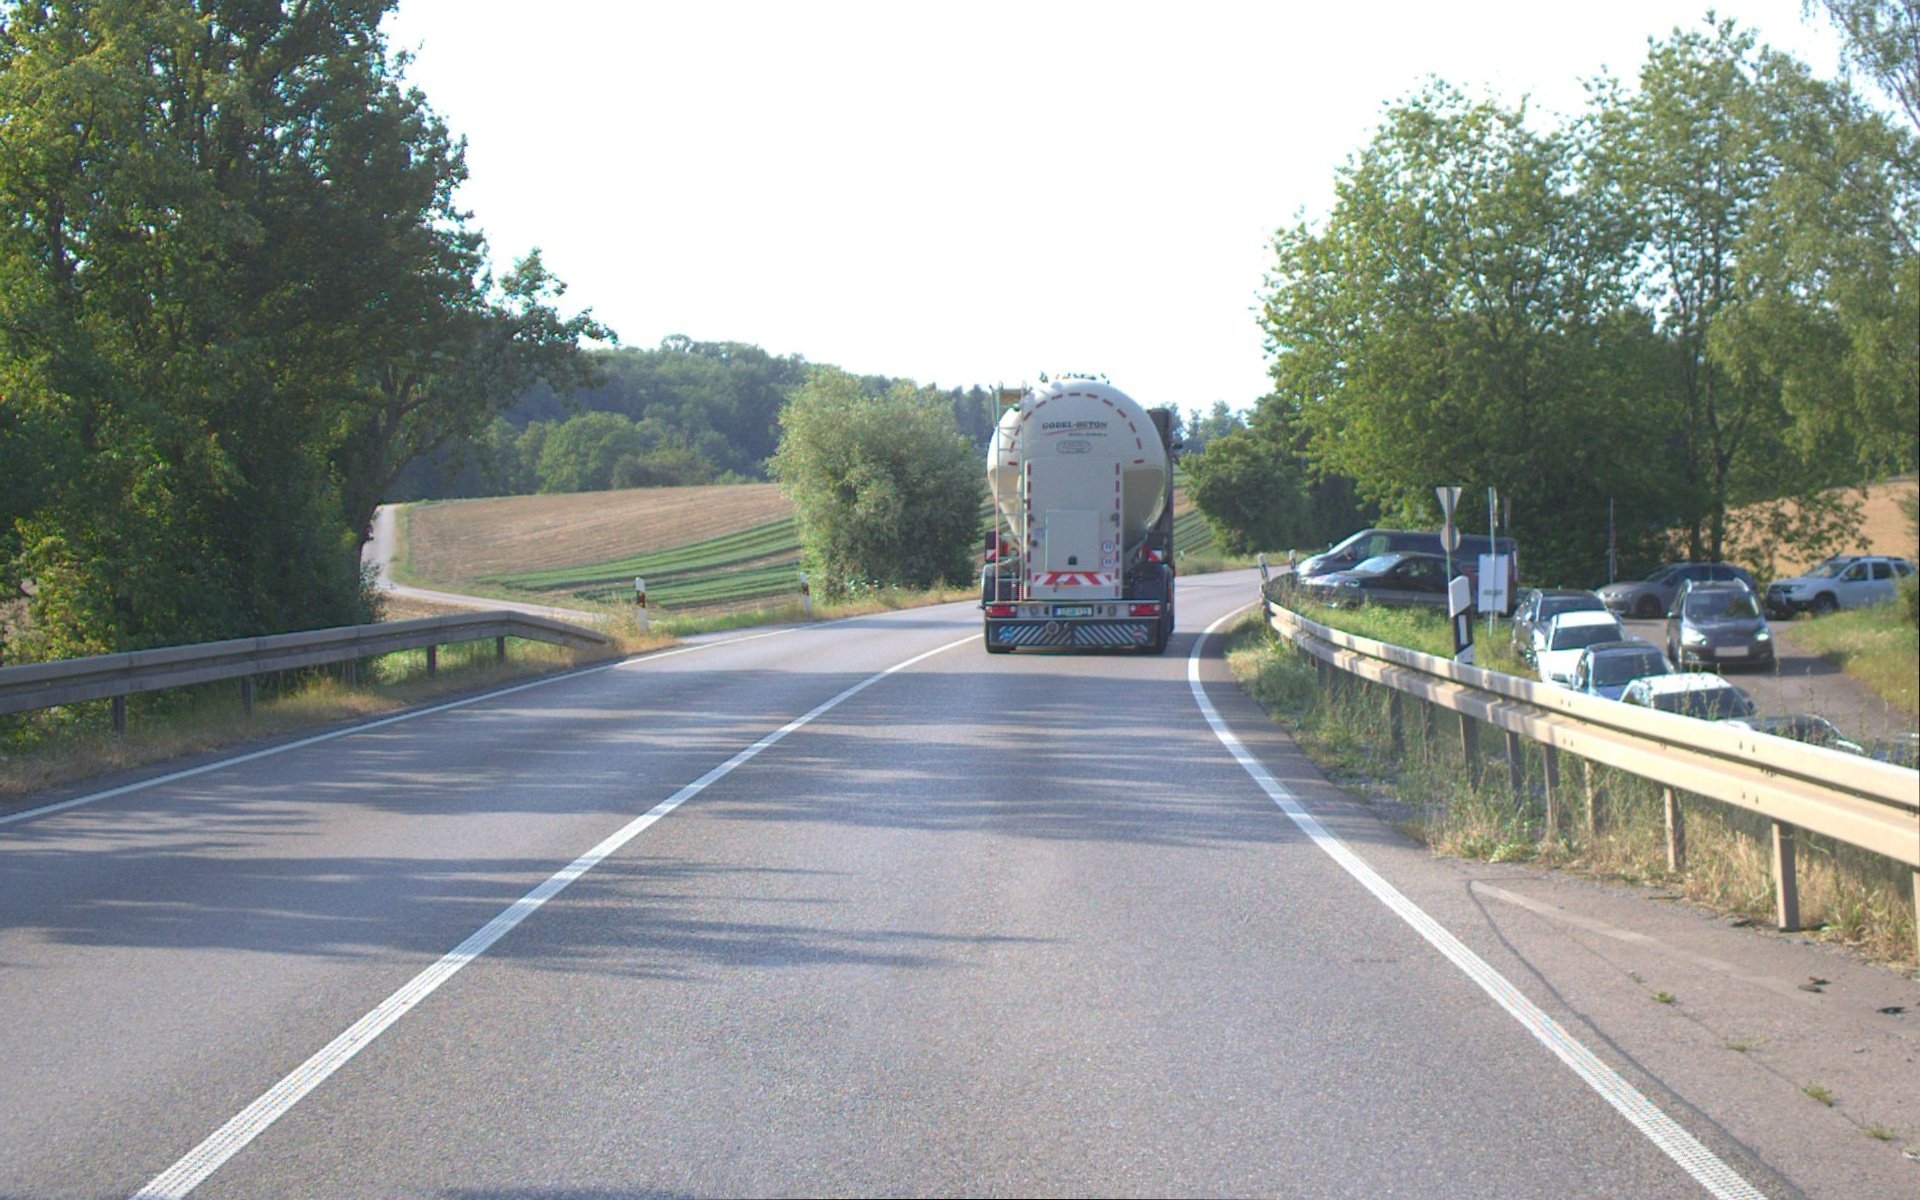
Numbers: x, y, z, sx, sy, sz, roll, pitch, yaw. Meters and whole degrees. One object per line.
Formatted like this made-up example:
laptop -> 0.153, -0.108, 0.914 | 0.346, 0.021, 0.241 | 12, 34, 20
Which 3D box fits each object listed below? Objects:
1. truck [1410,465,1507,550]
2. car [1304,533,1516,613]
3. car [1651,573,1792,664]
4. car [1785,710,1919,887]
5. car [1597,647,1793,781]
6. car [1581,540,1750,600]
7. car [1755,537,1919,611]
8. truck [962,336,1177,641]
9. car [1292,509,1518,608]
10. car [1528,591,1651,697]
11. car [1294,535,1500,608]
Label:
truck -> 26.080, -4.884, 179.330 | 3.186, 4.213, 13.163 | -1, 2, 16
car -> 9.952, -0.594, 75.943 | 4.310, 1.504, 1.721 | 3, 2, -25
car -> 14.933, 0.329, 67.632 | 1.892, 1.669, 4.782 | -1, 1, 3
car -> 11.700, 2.369, 42.183 | 1.892, 1.554, 4.783 | -4, 3, 0
car -> 11.308, 1.722, 53.215 | 1.892, 1.554, 4.783 | -4, 3, 0
car -> 17.688, -0.751, 86.243 | 3.717, 1.436, 1.812 | 1, 1, -20
car -> 22.749, -0.689, 88.288 | 4.203, 1.741, 1.812 | -2, 2, -21
truck -> 1.862, -1.656, 53.235 | 2.893, 4.128, 13.171 | 0, 1, 3
car -> 10.639, -1.016, 82.436 | 5.140, 1.937, 1.975 | 5, 2, 4
car -> 11.777, 0.789, 64.543 | 1.892, 1.554, 4.782 | -4, 3, 7
car -> 10.002, -0.646, 78.725 | 4.309, 1.395, 1.721 | 3, 2, -22
